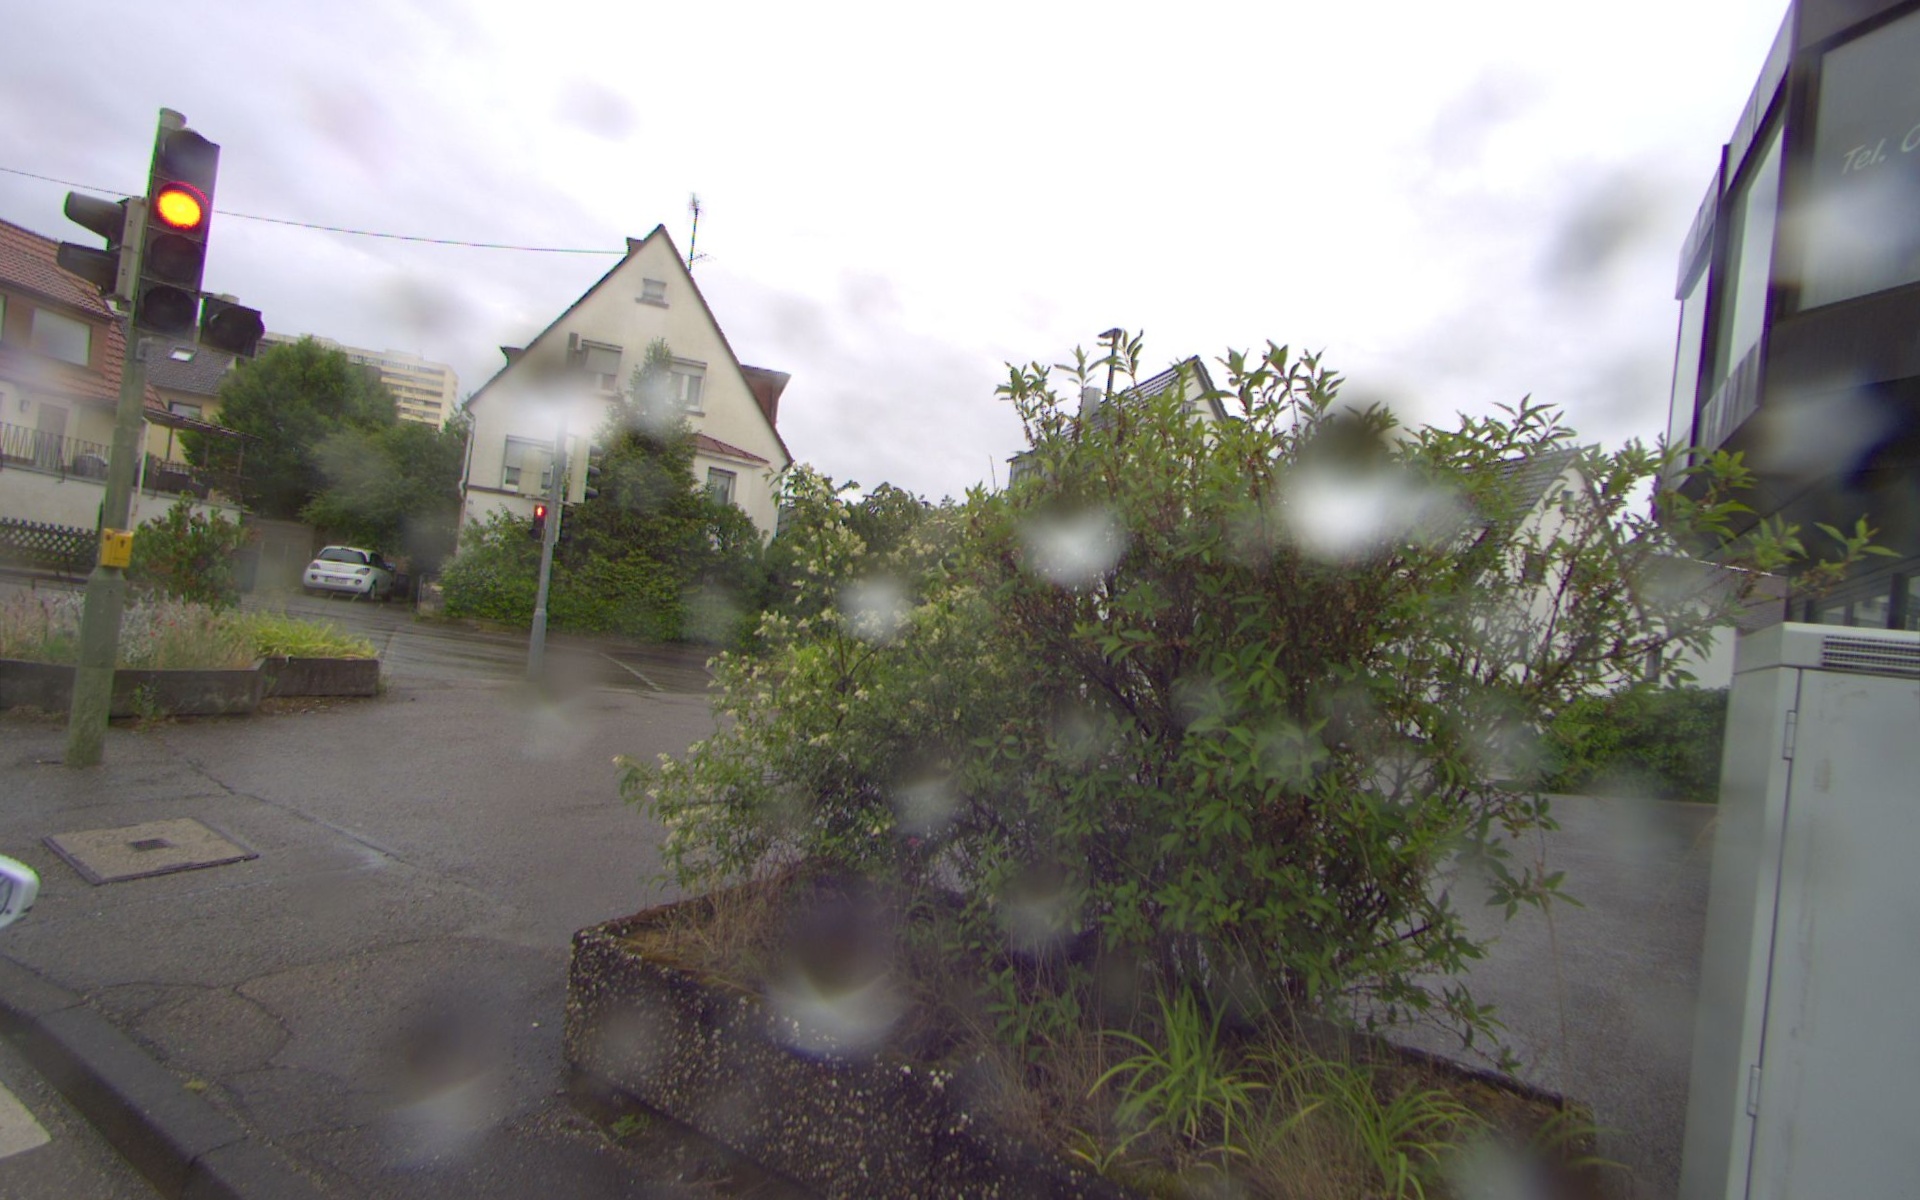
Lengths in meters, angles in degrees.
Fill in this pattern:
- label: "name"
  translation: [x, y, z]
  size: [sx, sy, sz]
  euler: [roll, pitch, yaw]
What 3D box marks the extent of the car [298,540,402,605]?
- label: "car"
  translation: [-17.684, -0.774, 29.368]
  size: [1.722, 1.532, 3.982]
  euler: [9, -2, -21]
